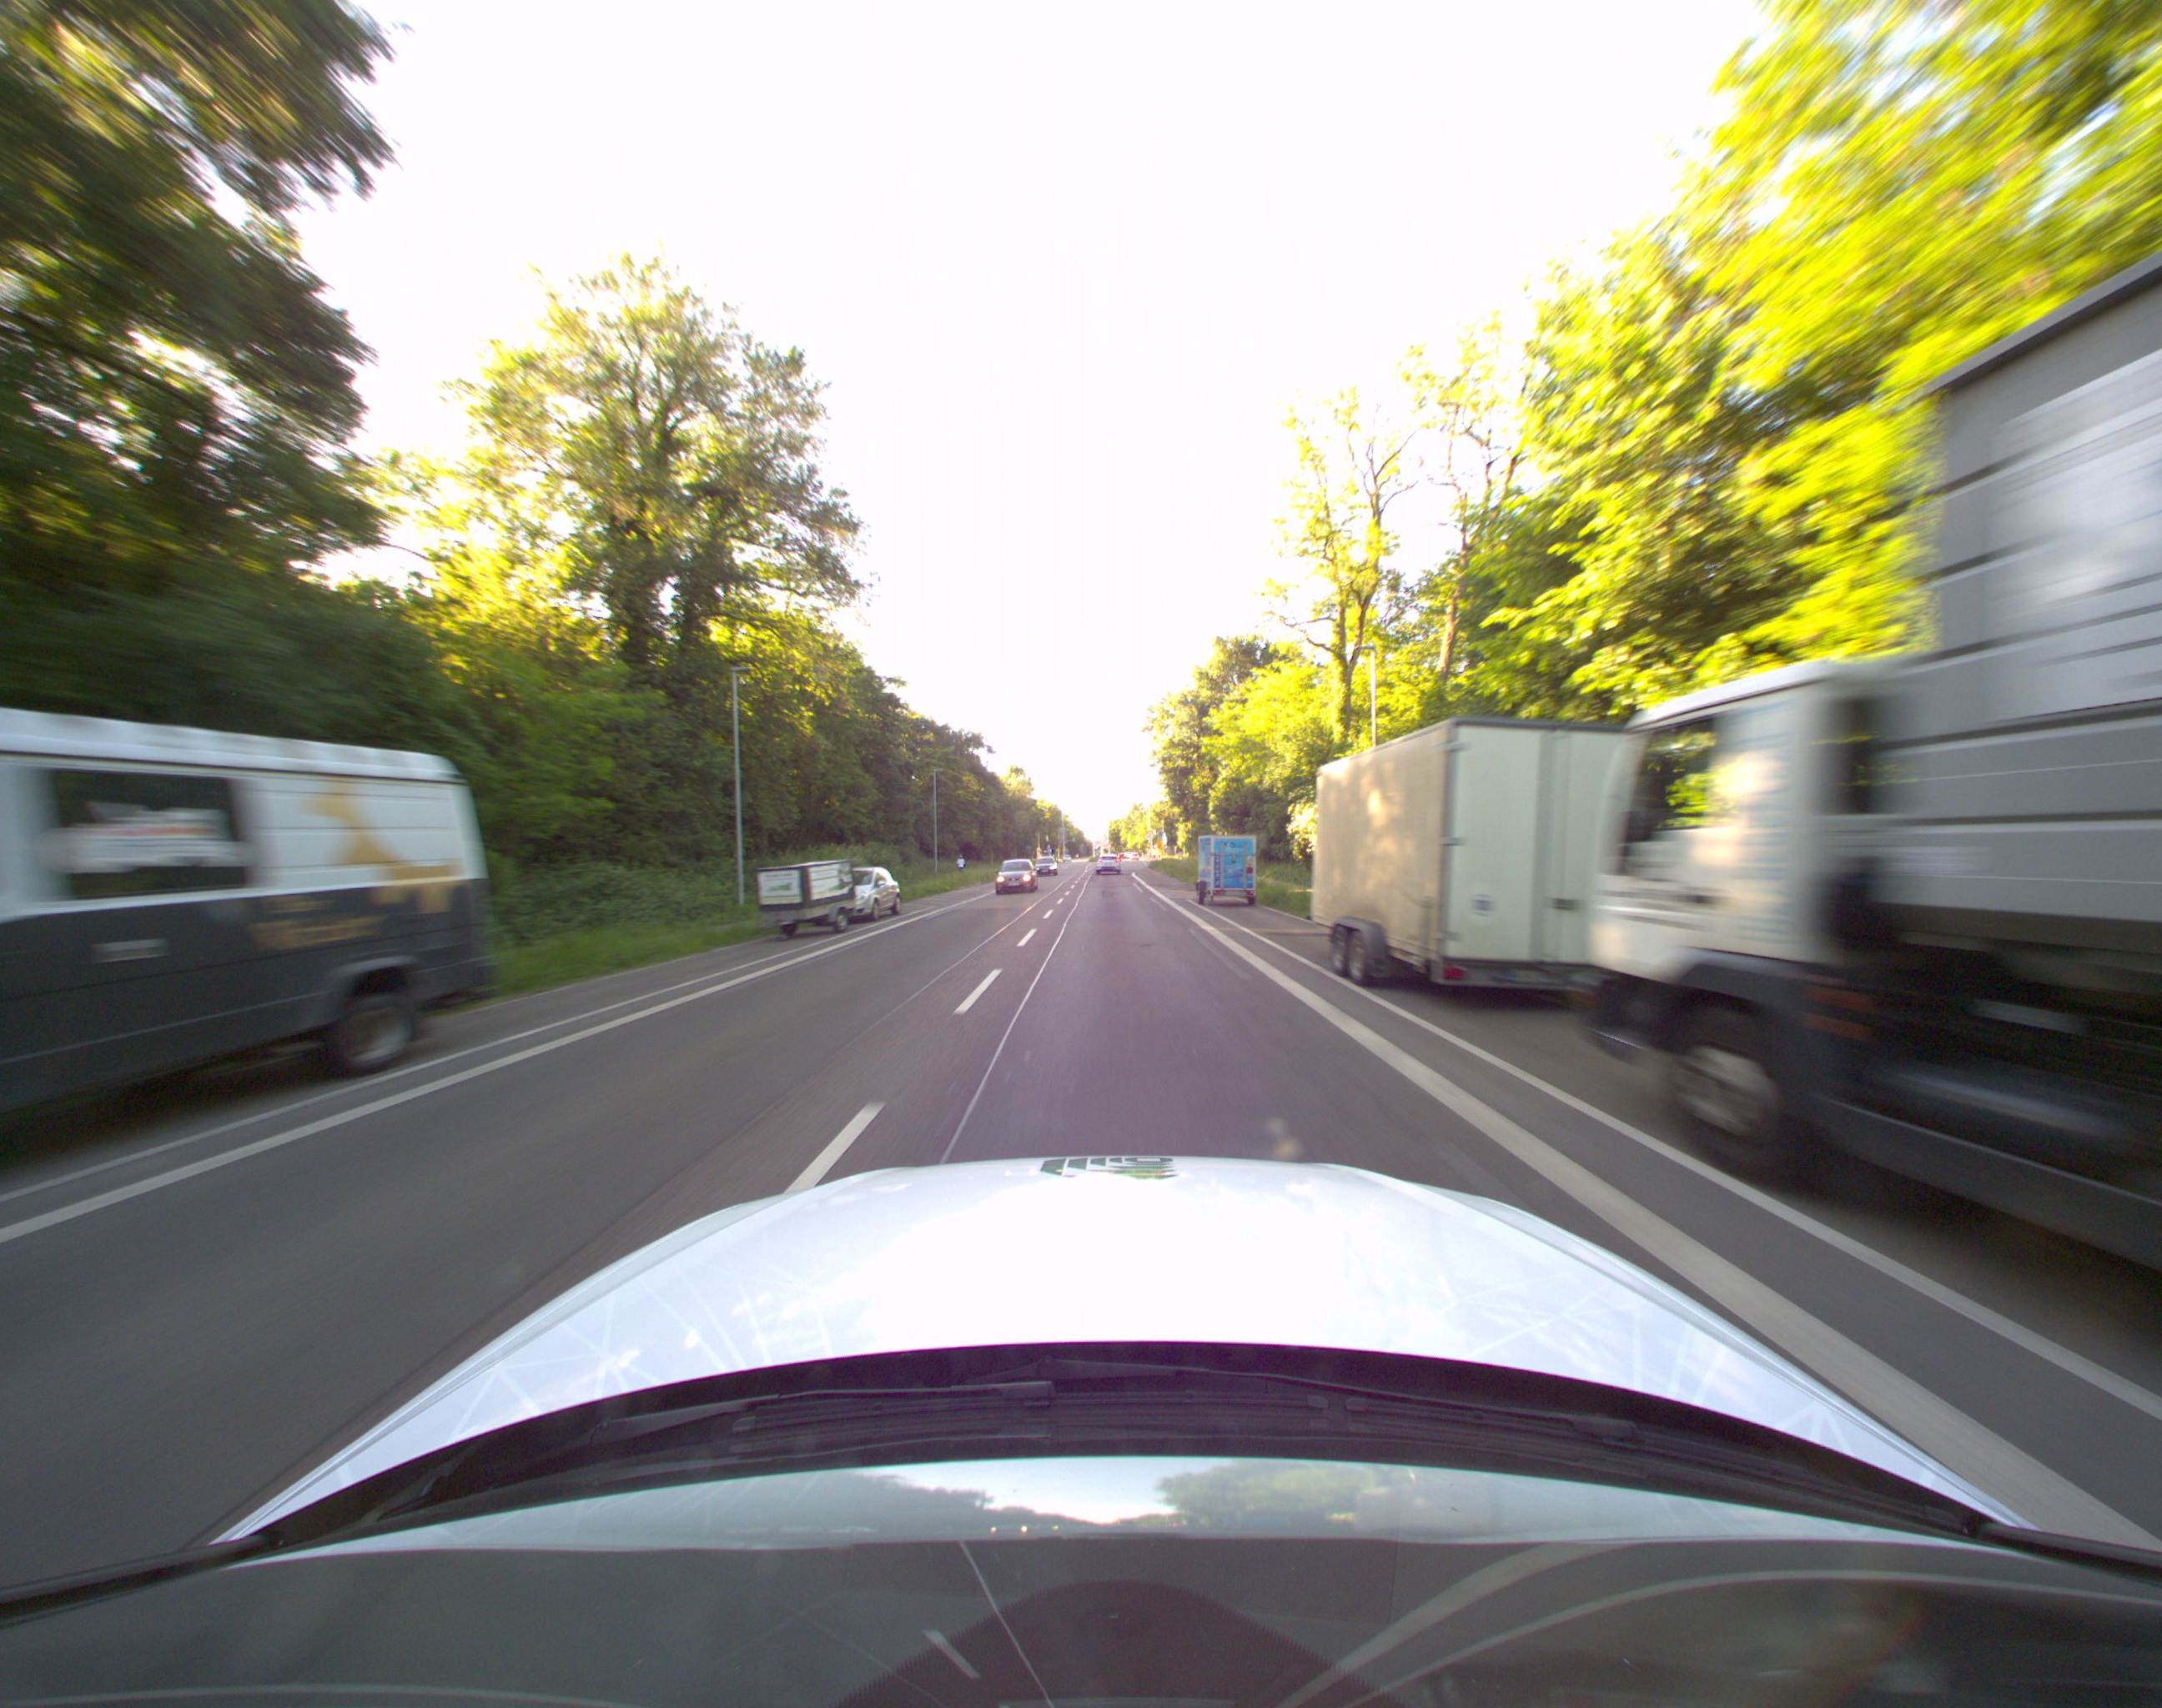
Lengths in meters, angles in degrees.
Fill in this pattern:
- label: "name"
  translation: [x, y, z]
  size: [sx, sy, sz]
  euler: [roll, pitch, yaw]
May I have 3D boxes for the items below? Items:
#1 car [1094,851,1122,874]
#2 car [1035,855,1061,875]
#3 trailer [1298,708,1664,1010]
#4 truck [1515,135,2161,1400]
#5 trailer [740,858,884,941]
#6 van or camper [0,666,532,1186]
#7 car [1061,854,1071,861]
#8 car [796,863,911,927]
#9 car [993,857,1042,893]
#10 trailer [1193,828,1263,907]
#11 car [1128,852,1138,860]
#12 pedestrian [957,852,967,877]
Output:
- label: "car"
  translation: [2.048, 0.641, 61.774]
  size: [1.986, 1.640, 4.001]
  euler: [-2, 0, 1]
- label: "car"
  translation: [-2.537, 0.845, 64.121]
  size: [1.672, 1.490, 4.692]
  euler: [-2, 0, 2]
- label: "trailer"
  translation: [4.471, 0.048, 10.317]
  size: [2.263, 2.844, 5.210]
  euler: [0, 0, 2]
- label: "truck"
  translation: [4.122, -0.235, 2.012]
  size: [2.495, 3.366, 7.110]
  euler: [-1, 0, 2]
- label: "trailer"
  translation: [-6.057, 0.969, 18.735]
  size: [1.459, 1.659, 3.378]
  euler: [-4, -1, 14]
- label: "van or camper"
  translation: [-6.872, 0.442, 5.474]
  size: [2.293, 2.768, 5.559]
  euler: [-4, 0, 1]
- label: "car"
  translation: [-3.112, 0.743, 174.752]
  size: [1.986, 1.464, 4.001]
  euler: [-1, 0, 1]
- label: "car"
  translation: [-6.305, 1.080, 23.107]
  size: [1.860, 1.463, 4.135]
  euler: [-5, 0, 2]
- label: "car"
  translation: [-2.755, 0.888, 36.044]
  size: [1.672, 1.415, 4.002]
  euler: [-2, 0, 2]
- label: "trailer"
  translation: [4.489, 0.381, 25.443]
  size: [1.494, 2.235, 4.552]
  euler: [0, 0, 2]
- label: "car"
  translation: [11.664, 0.405, 182.580]
  size: [1.986, 1.618, 4.002]
  euler: [0, 0, 2]
- label: "pedestrian"
  translation: [-9.860, 0.846, 67.272]
  size: [0.691, 2.013, 0.713]
  euler: [0, 0, 2]
